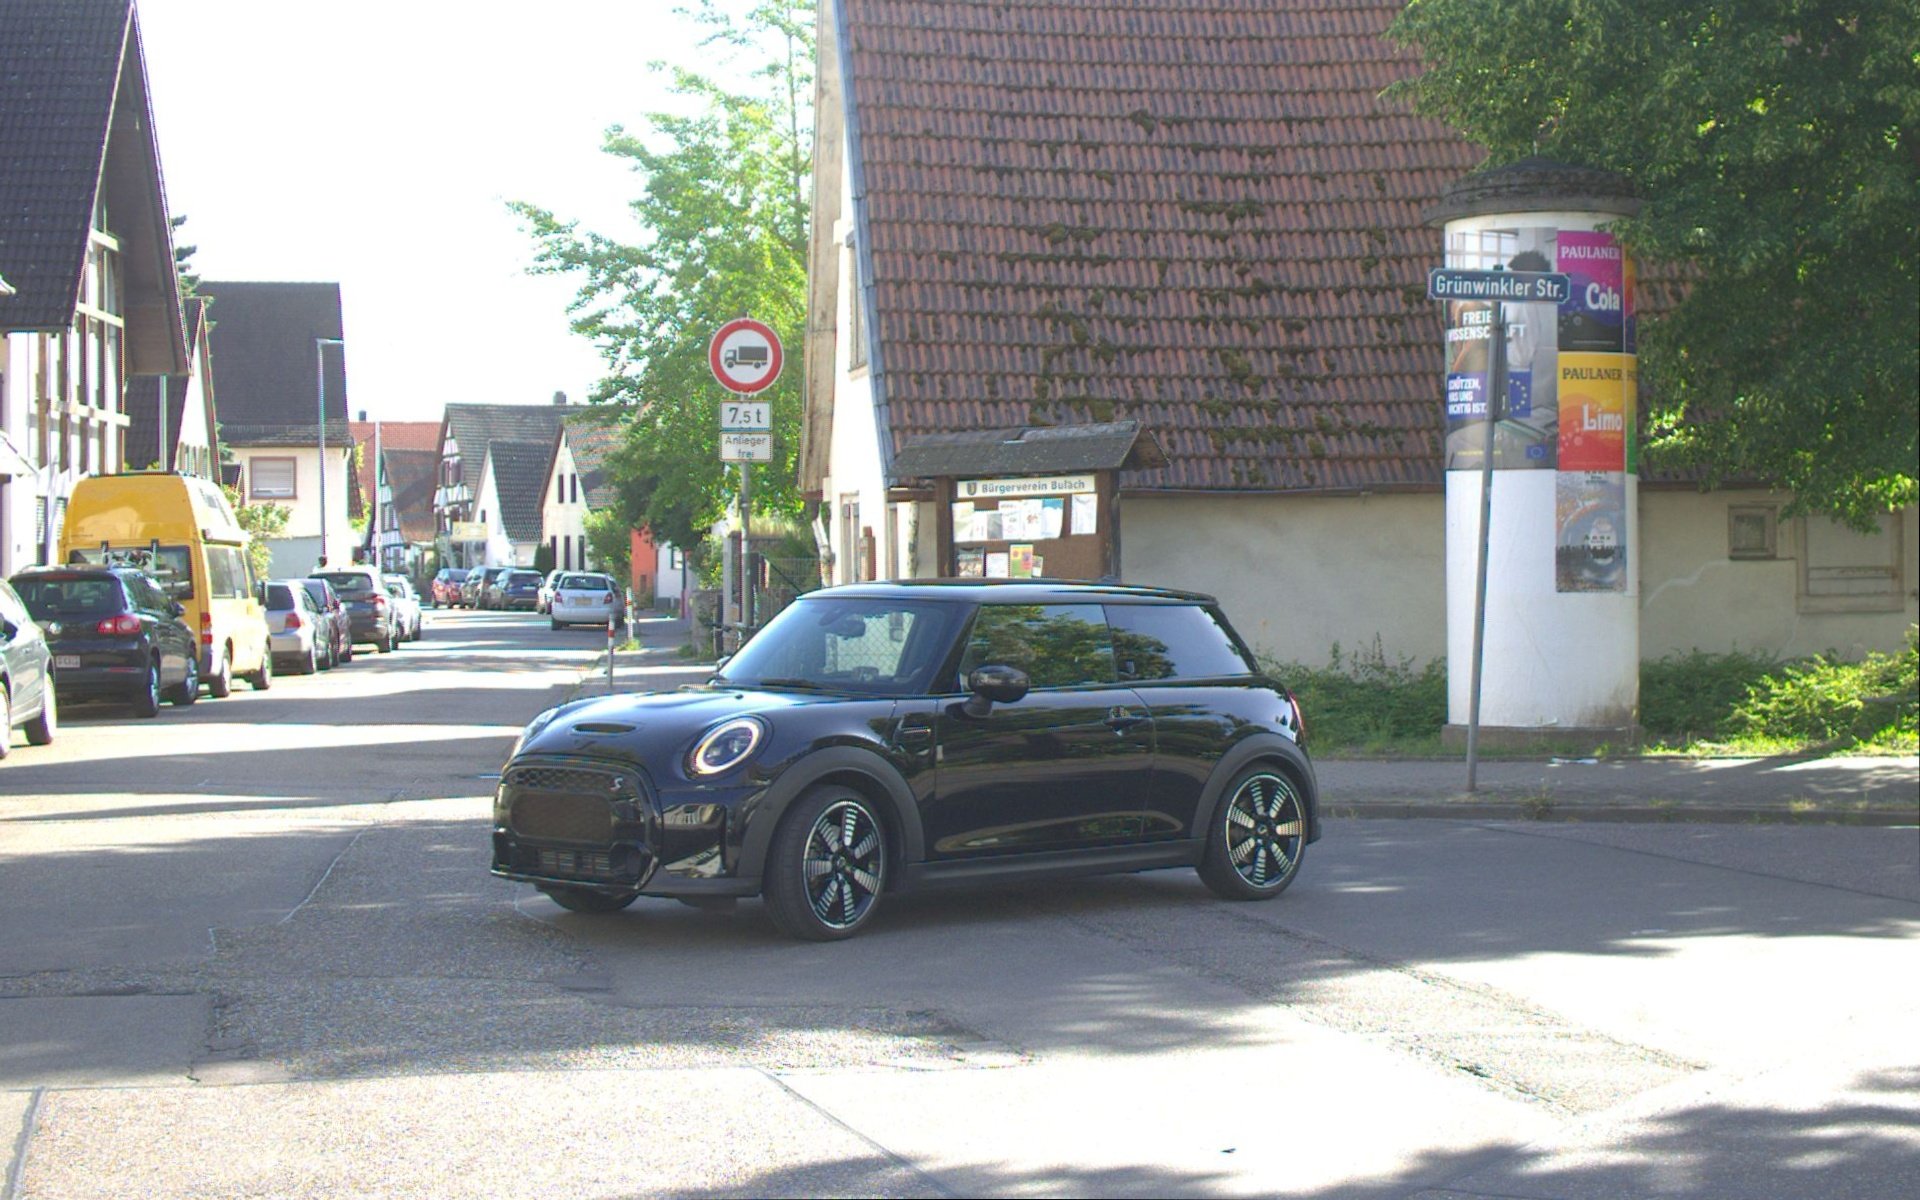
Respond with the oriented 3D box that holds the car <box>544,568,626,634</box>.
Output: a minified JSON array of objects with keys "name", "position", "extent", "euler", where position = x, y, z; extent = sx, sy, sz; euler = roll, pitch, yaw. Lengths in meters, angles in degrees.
[{"name":"car","position":[-9.893,0.014,90.483],"extent":[1.972,1.708,3.996],"euler":[0,0,-9]}]

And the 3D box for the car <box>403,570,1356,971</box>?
[{"name":"car","position":[-0.242,0.619,14.761],"extent":[3.989,1.472,1.665],"euler":[-1,1,-43]}]

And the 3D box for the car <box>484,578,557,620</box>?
[{"name":"car","position":[-16.980,-0.052,132.659],"extent":[1.972,1.577,3.996],"euler":[0,0,-20]}]

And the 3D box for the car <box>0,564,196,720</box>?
[{"name":"car","position":[-9.555,0.441,37.784],"extent":[1.806,1.616,3.881],"euler":[0,0,-6]}]

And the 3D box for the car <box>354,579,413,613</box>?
[{"name":"car","position":[-26.375,-0.190,157.245],"extent":[1.972,1.577,3.996],"euler":[0,0,-20]}]

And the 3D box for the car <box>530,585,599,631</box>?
[{"name":"car","position":[-13.868,0.279,120.439],"extent":[1.972,1.577,3.996],"euler":[0,0,-13]}]

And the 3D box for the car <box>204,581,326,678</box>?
[{"name":"car","position":[-10.554,0.428,52.369],"extent":[1.645,1.428,3.615],"euler":[0,0,-9]}]

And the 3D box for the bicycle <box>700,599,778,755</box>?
[{"name":"bicycle","position":[-1.739,0.588,27.240],"extent":[0.433,1.172,1.829],"euler":[-1,0,2]}]

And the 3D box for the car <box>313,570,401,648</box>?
[{"name":"car","position":[-11.456,0.158,65.465],"extent":[1.587,1.438,3.615],"euler":[0,0,-9]}]

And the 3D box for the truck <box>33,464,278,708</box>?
[{"name":"truck","position":[-10.034,-0.165,43.338],"extent":[2.267,2.859,5.783],"euler":[0,0,-6]}]

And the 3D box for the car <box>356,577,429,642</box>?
[{"name":"car","position":[-12.770,0.202,77.497],"extent":[1.587,1.438,3.615],"euler":[0,0,-9]}]

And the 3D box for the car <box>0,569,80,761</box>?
[{"name":"car","position":[-8.636,0.521,28.895],"extent":[1.806,1.500,4.108],"euler":[0,0,-6]}]
